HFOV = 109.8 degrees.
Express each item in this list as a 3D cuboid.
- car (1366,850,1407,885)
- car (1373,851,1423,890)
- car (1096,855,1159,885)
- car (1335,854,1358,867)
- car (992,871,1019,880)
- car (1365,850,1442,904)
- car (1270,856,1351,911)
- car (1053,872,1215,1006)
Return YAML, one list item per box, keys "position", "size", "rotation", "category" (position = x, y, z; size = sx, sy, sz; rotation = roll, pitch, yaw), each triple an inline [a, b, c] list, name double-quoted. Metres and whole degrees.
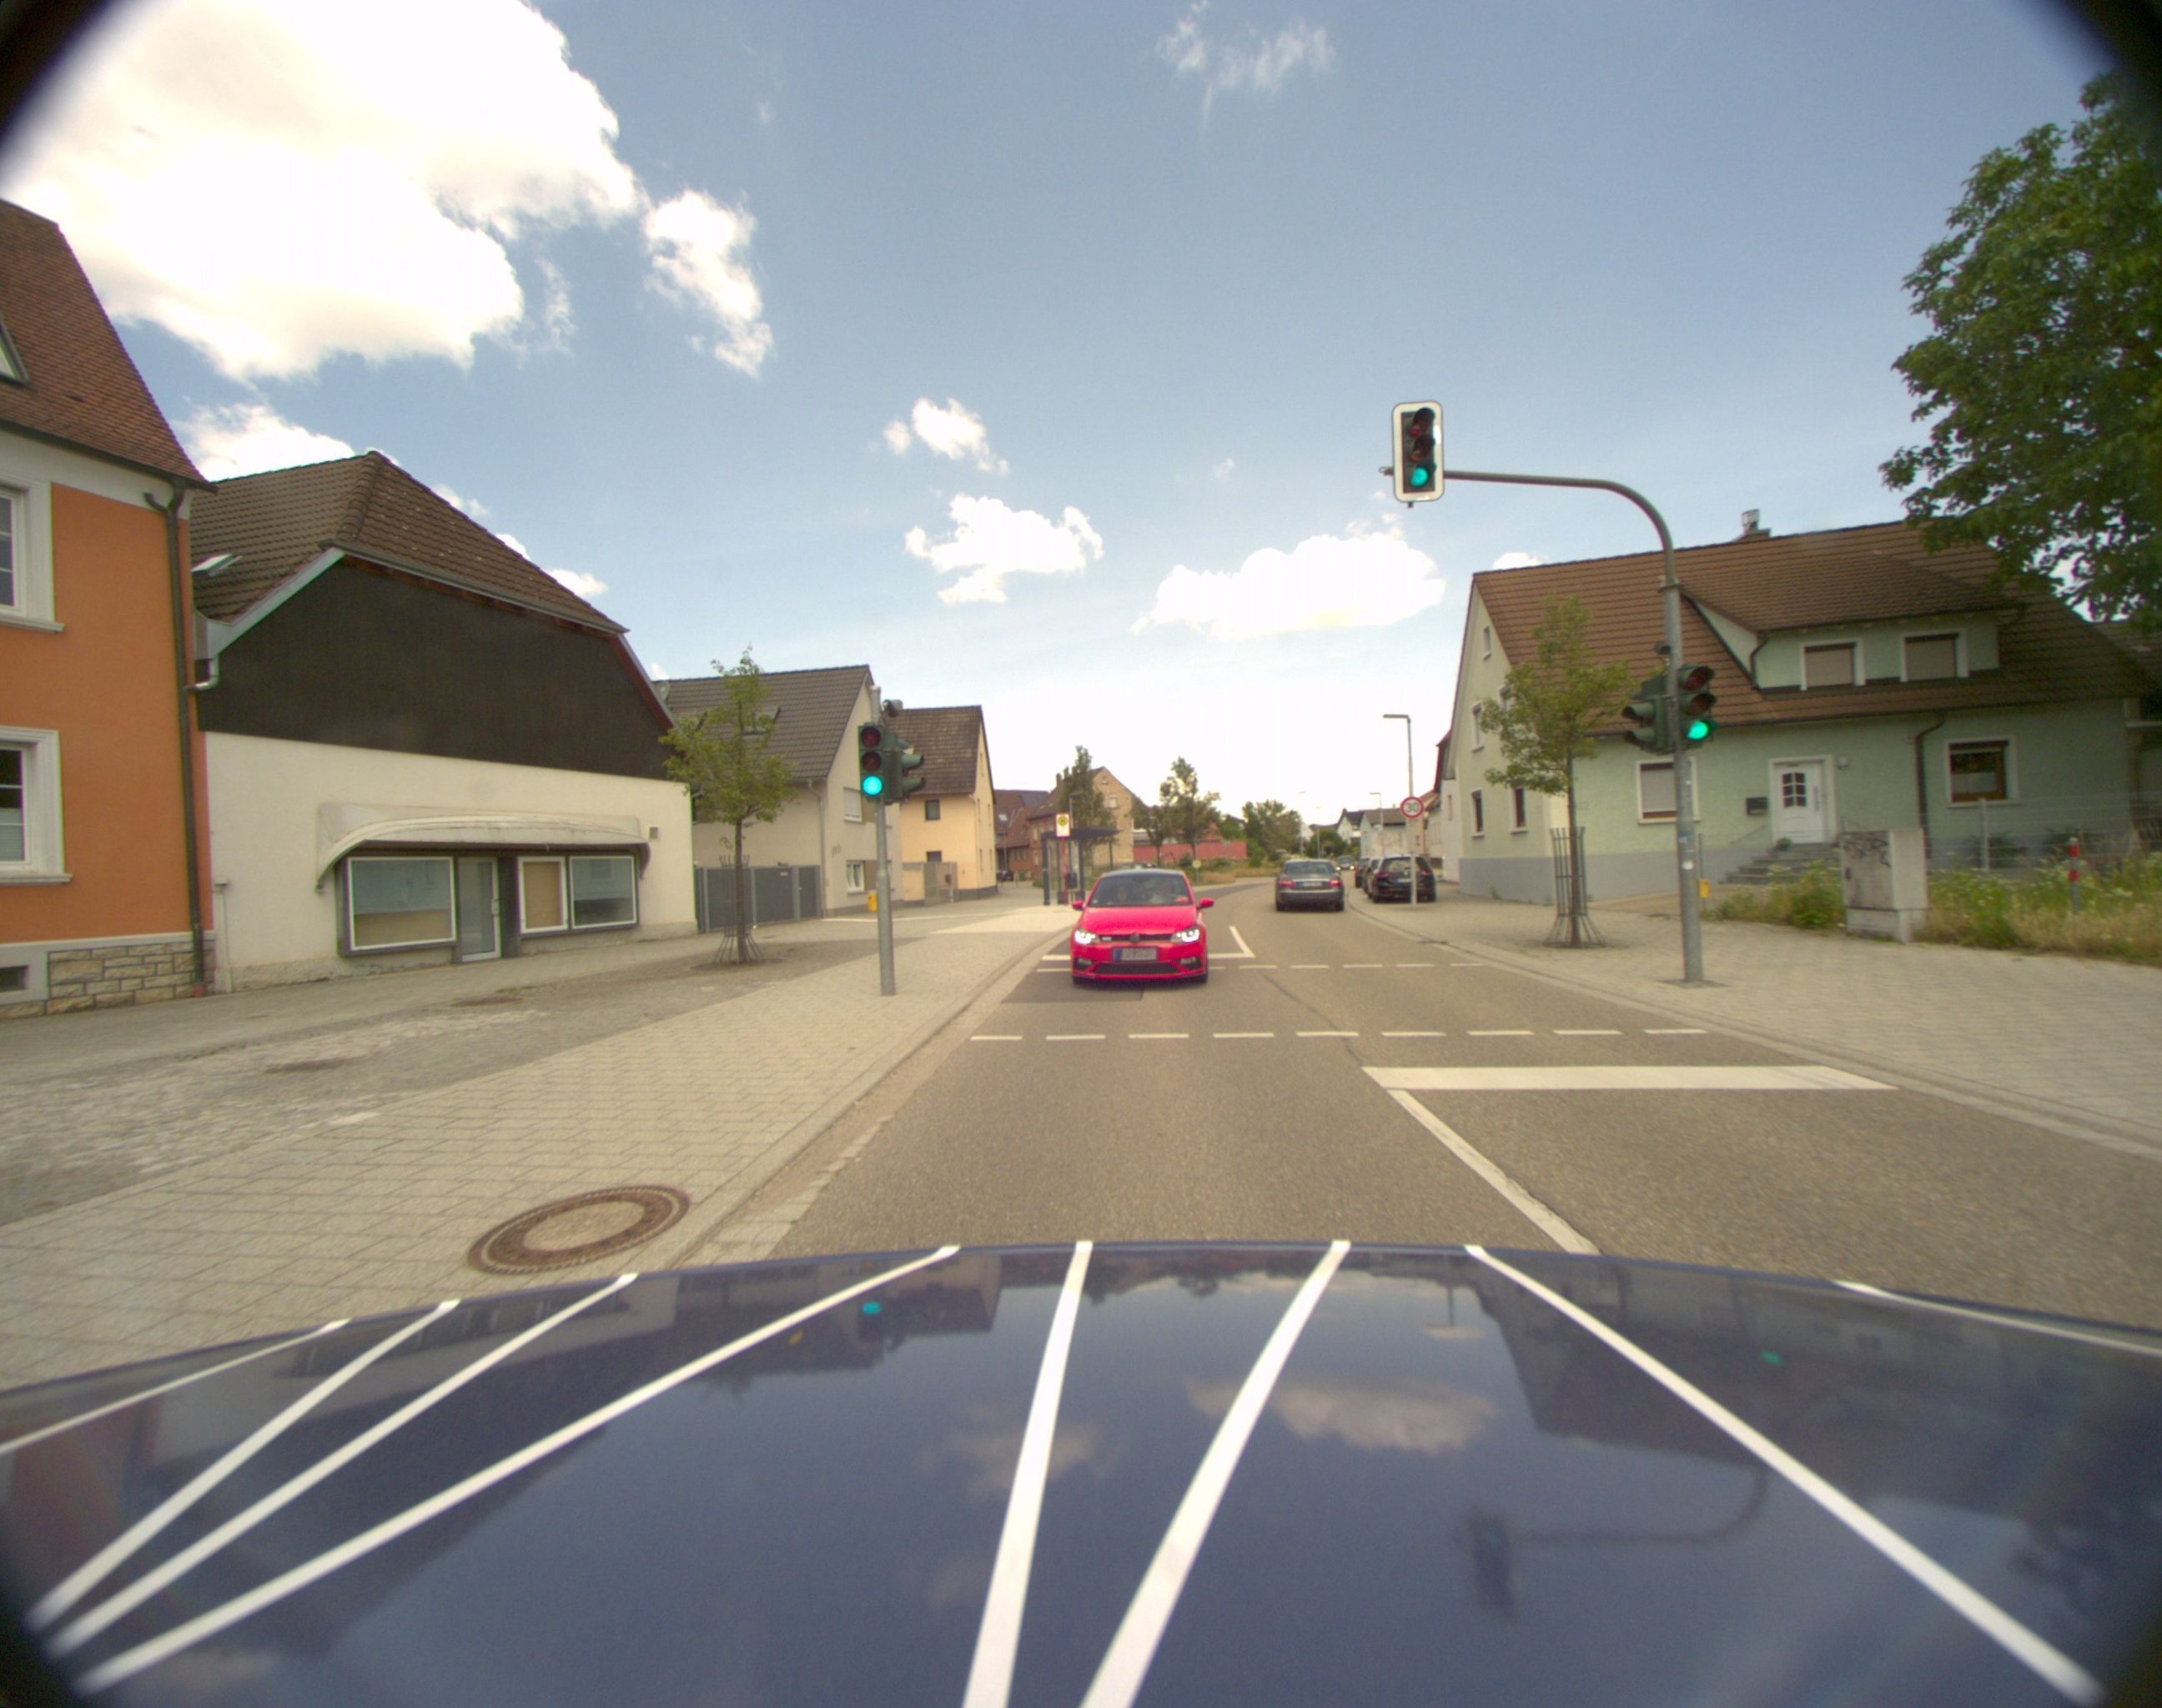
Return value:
- position: [14.507, 0.602, 36.195]
  size: [1.657, 1.553, 3.697]
  rotation: [-2, 0, 21]
  category: "car"
- position: [12.467, 0.630, 30.025]
  size: [1.657, 1.387, 3.697]
  rotation: [-2, 0, 21]
  category: "car"
- position: [2.792, 0.944, 45.190]
  size: [3.545, 1.583, 1.667]
  rotation: [-3, -1, 6]
  category: "car"
- position: [27.731, 0.682, 79.379]
  size: [1.996, 1.182, 4.005]
  rotation: [-2, 0, 16]
  category: "car"
- position: [-9.060, 2.549, 90.372]
  size: [1.806, 1.053, 3.992]
  rotation: [-2, -1, -27]
  category: "car"
- position: [10.140, 0.665, 24.160]
  size: [1.735, 1.481, 4.506]
  rotation: [-2, 0, 17]
  category: "car"
- position: [6.614, 0.800, 22.306]
  size: [1.887, 1.426, 4.601]
  rotation: [-1, -1, 12]
  category: "car"
- position: [0.601, 1.003, 10.530]
  size: [1.782, 1.403, 3.888]
  rotation: [-2, 0, 0]
  category: "car"
